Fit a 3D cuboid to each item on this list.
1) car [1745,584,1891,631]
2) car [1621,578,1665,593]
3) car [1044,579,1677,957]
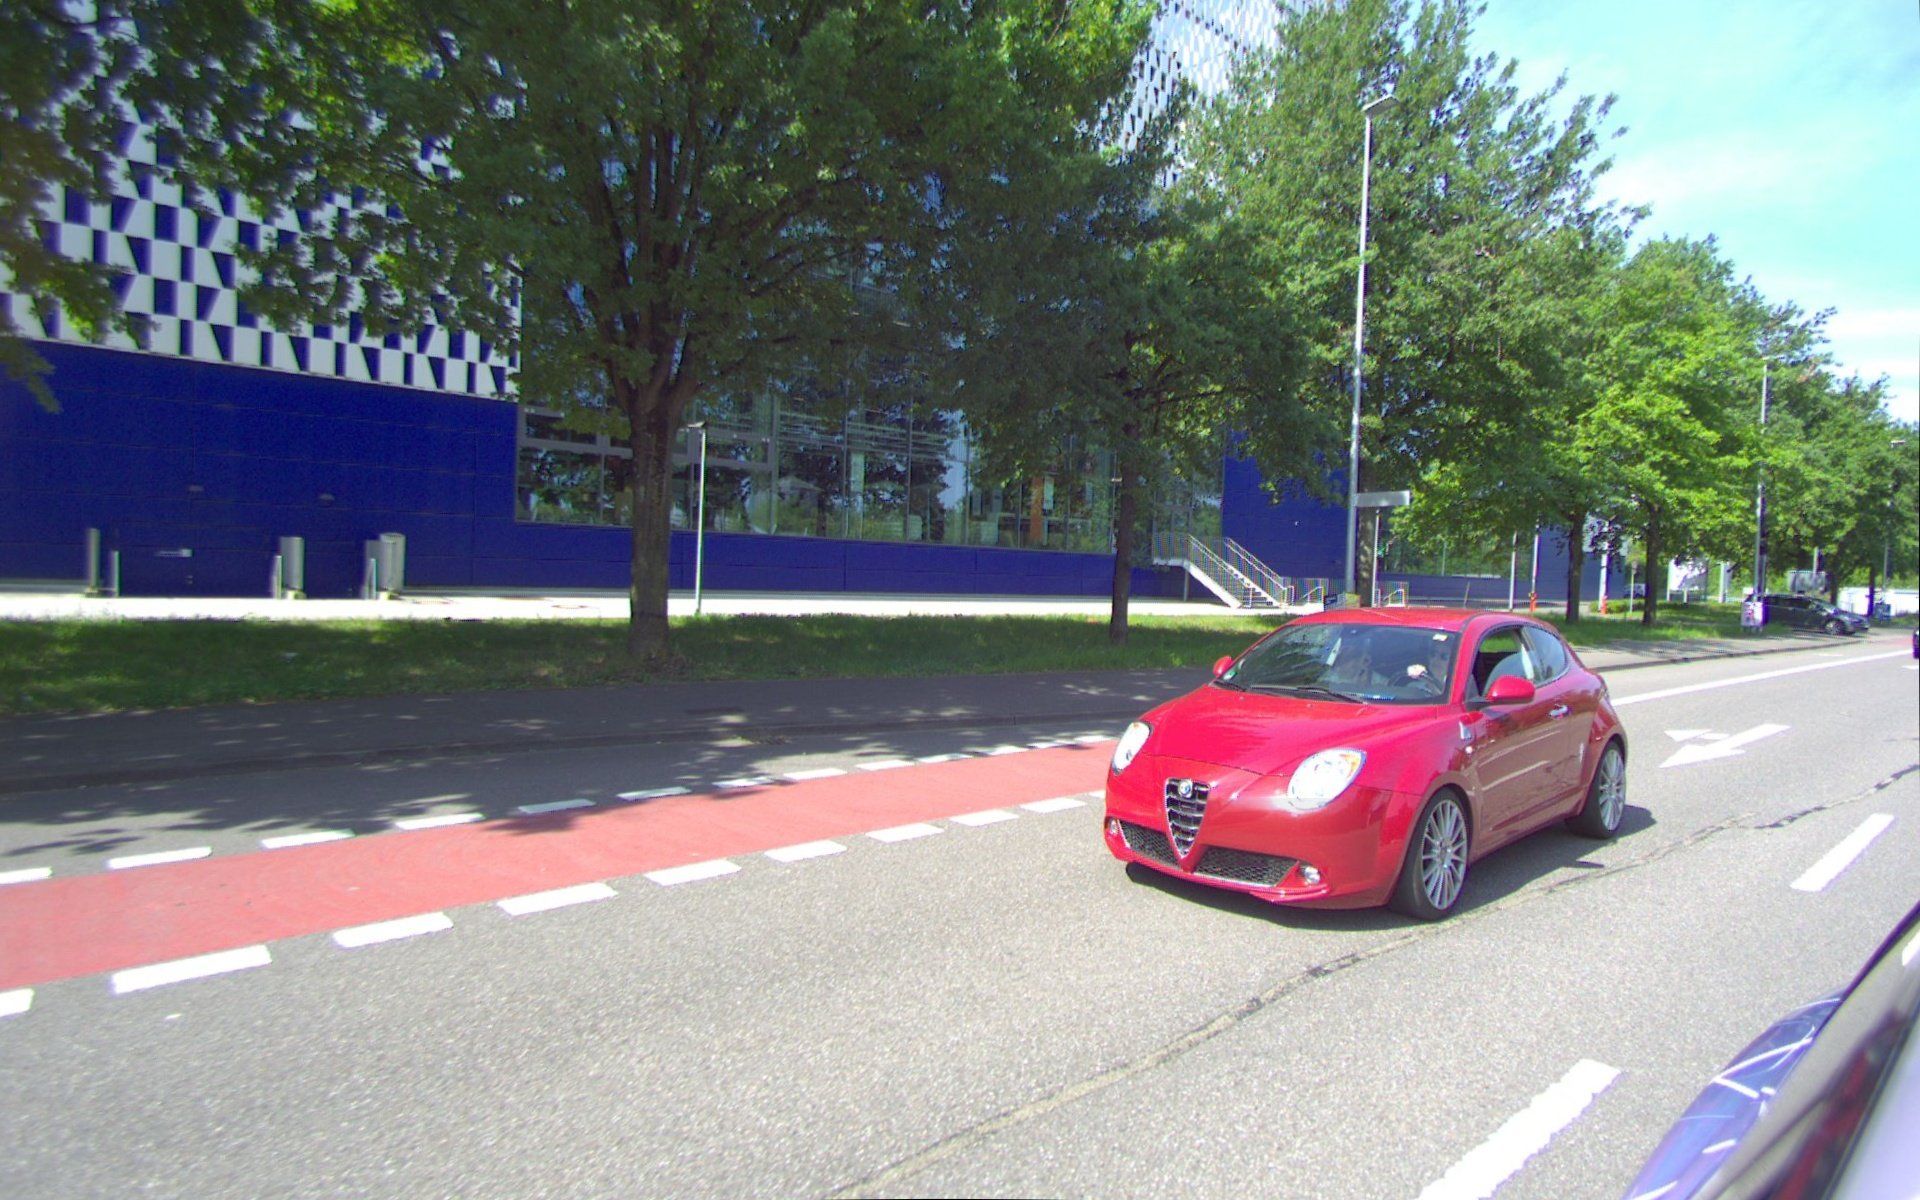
[{"bbox_3d":[37.550,0.275,44.405,1.808,1.714,4.464,1,3,-33],"label":"car"},{"bbox_3d":[80.724,-1.734,119.657,1.818,1.659,4.313,1,1,-11],"label":"car"},{"bbox_3d":[2.522,0.639,5.952,3.908,1.472,1.798,0,2,-40],"label":"car"}]
